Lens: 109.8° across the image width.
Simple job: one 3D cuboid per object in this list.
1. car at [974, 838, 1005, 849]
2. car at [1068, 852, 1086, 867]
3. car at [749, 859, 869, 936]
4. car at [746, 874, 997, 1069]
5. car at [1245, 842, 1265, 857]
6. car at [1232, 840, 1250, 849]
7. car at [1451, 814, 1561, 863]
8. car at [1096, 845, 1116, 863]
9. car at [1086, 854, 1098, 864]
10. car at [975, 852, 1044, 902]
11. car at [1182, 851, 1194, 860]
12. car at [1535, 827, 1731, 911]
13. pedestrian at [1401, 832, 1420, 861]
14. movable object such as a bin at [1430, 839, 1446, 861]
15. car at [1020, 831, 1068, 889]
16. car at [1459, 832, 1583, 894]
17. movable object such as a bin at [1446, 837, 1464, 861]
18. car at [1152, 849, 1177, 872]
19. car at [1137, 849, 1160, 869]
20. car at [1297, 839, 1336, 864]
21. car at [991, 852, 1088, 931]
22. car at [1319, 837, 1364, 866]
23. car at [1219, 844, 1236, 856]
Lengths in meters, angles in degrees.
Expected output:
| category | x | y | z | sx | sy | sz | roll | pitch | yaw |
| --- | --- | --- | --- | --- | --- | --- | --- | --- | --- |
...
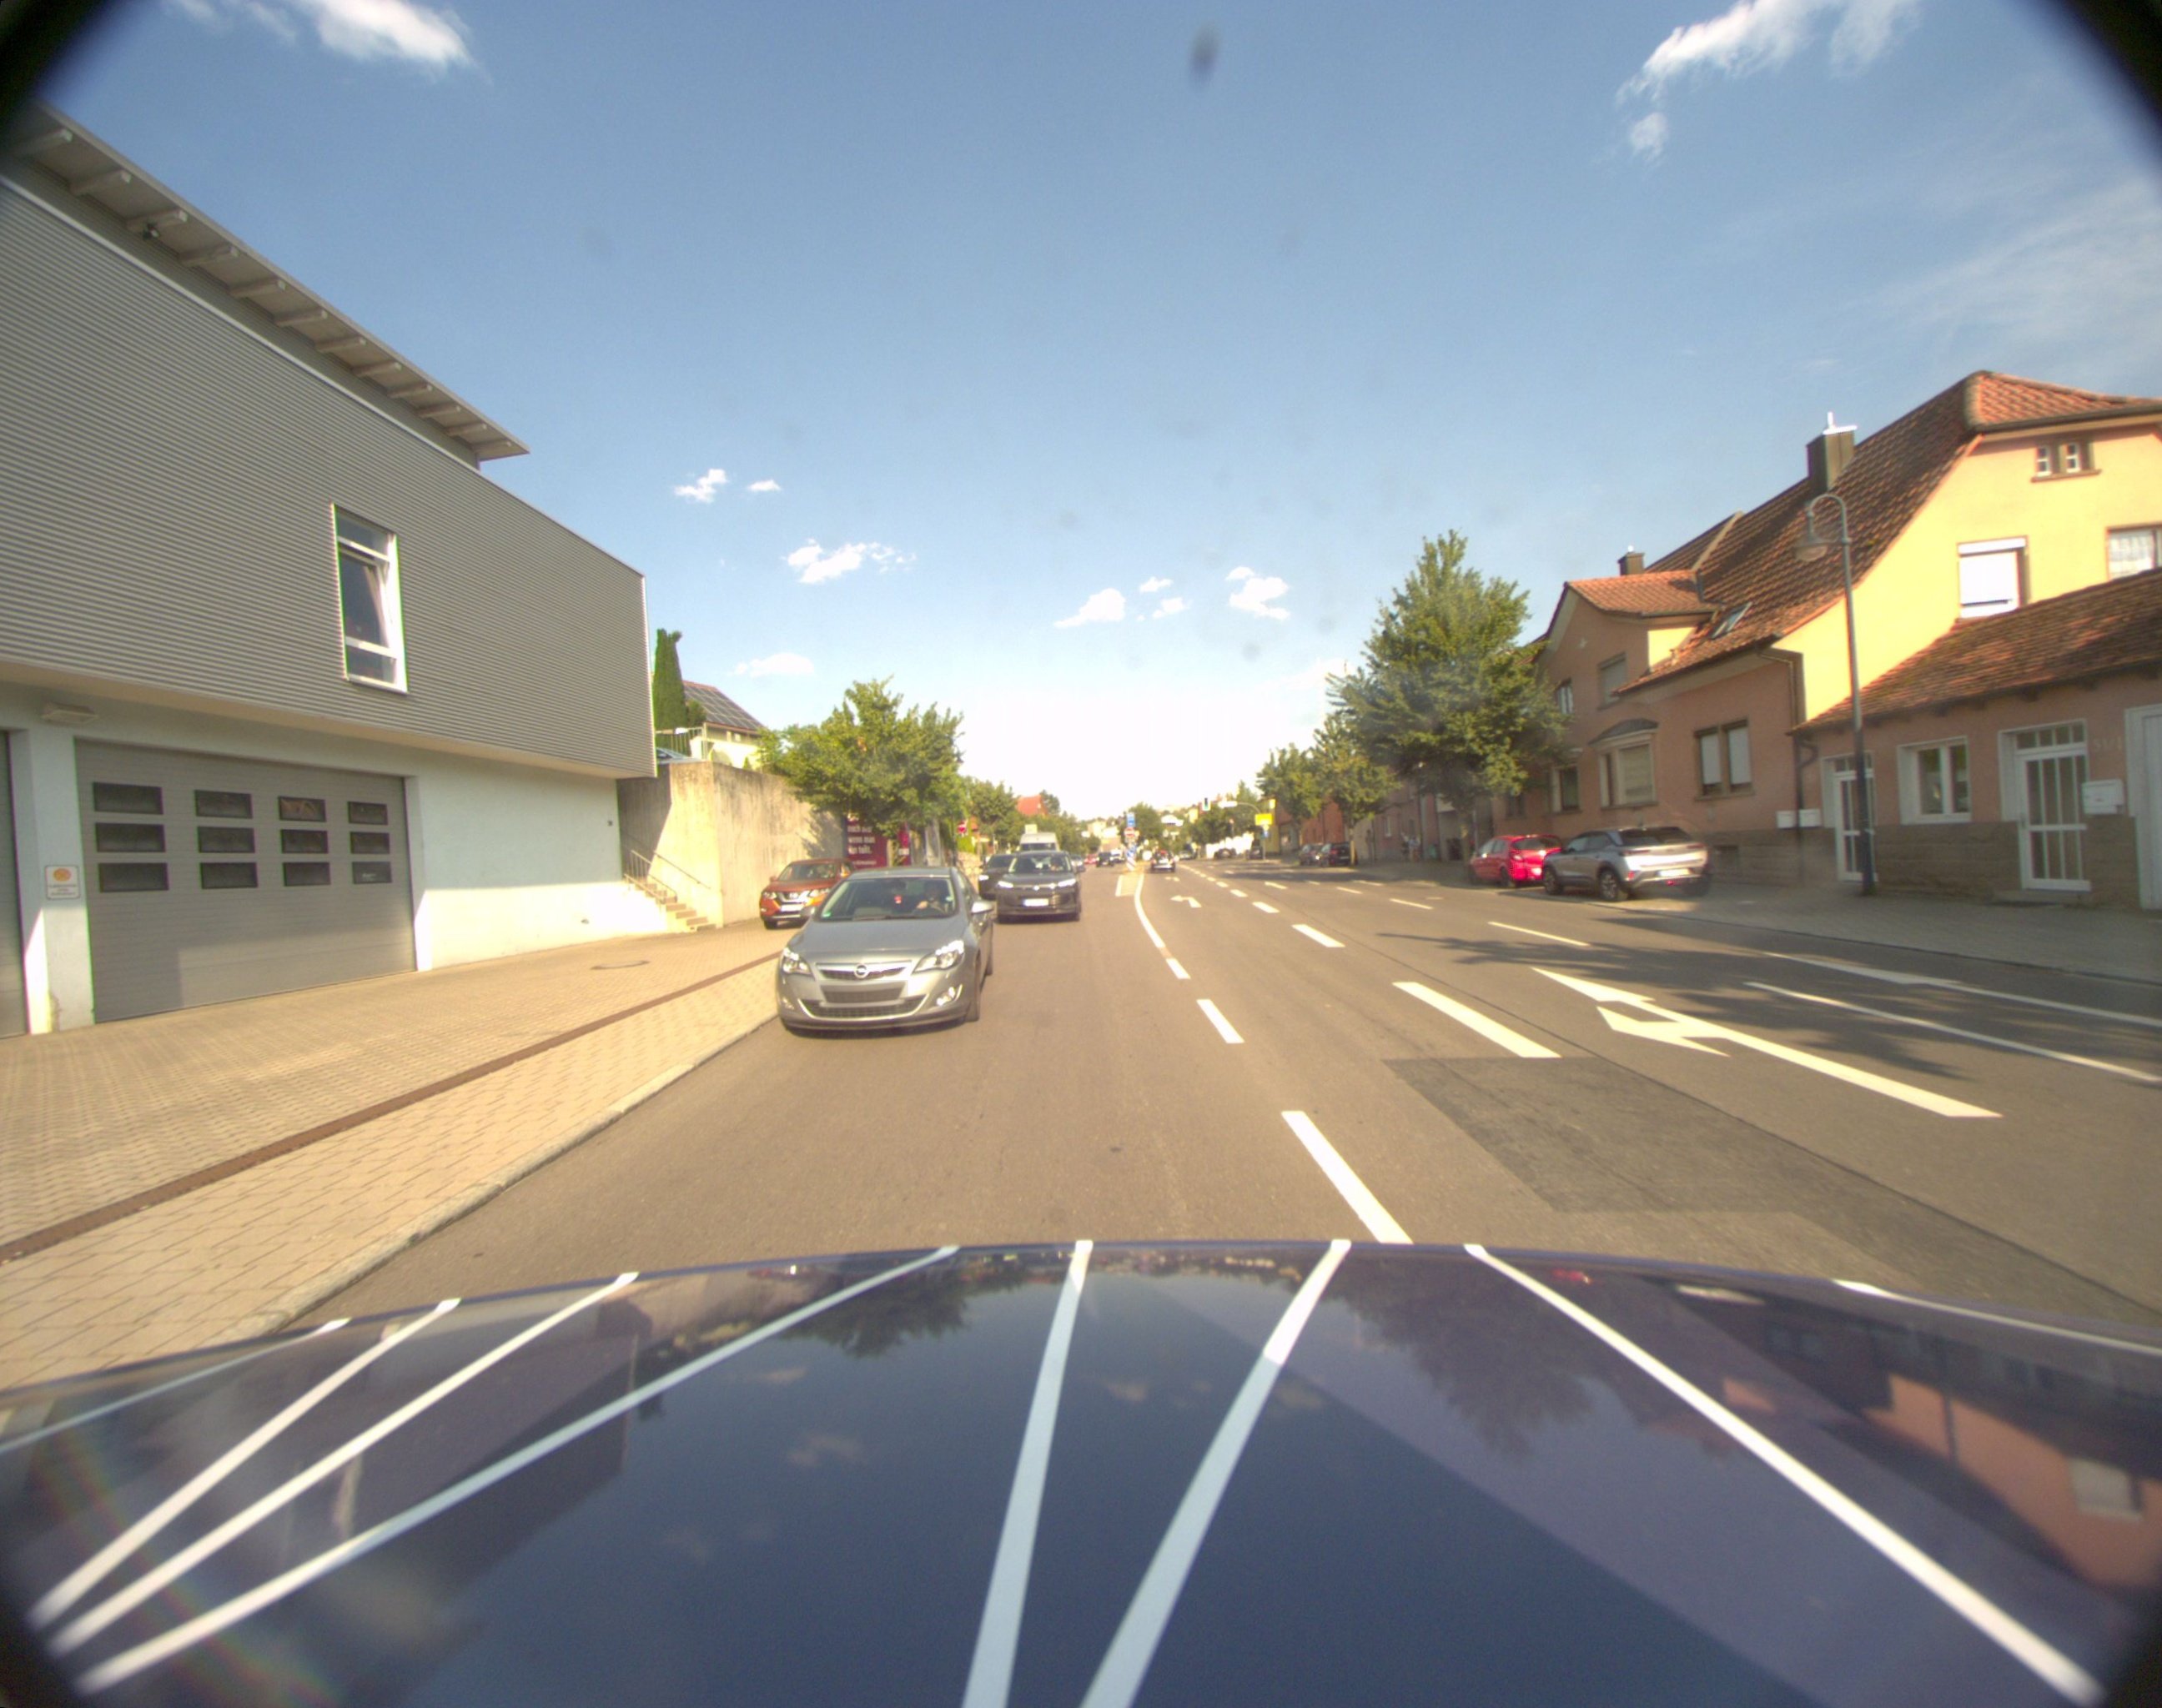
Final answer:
| category | x | y | z | sx | sy | sz | roll | pitch | yaw |
| --- | --- | --- | --- | --- | --- | --- | --- | --- | --- |
| car | -13.079 | -1.501 | 108.522 | 4.072 | 1.448 | 1.681 | -3 | 0 | 16 |
| car | -0.380 | 0.564 | 74.883 | 1.515 | 1.354 | 2.956 | -3 | 0 | 4 |
| car | -6.809 | 0.994 | 19.554 | 1.840 | 1.640 | 4.535 | -3 | 0 | -6 |
| car | -1.872 | 0.975 | 8.057 | 1.652 | 1.414 | 4.142 | -1 | 0 | -3 |
| car | 18.476 | -0.444 | 80.958 | 1.595 | 1.430 | 3.777 | -7 | -1 | 8 |
| car | 31.480 | -1.819 | 149.344 | 3.437 | 1.555 | 1.583 | -2 | 0 | -35 |
| car | 19.151 | -0.698 | 34.378 | 3.829 | 1.870 | 1.779 | -5 | 0 | 6 |
| car | 2.848 | 0.002 | 84.942 | 1.815 | 1.861 | 4.002 | -3 | 0 | 6 |
| car | 1.726 | 0.742 | 115.654 | 1.529 | 1.354 | 2.794 | -3 | 0 | 7 |
| car | -2.480 | 0.774 | 27.312 | 1.791 | 1.596 | 4.057 | -2 | 0 | 4 |
| car | 19.847 | 0.216 | 141.003 | 1.689 | 1.602 | 4.414 | -3 | 0 | 4 |
| car | 11.869 | 0.296 | 16.718 | 1.759 | 1.470 | 4.003 | -5 | -1 | 9 |
| pedestrian | 18.357 | -0.406 | 42.347 | 0.722 | 1.598 | 0.778 | -2 | 1 | 8 |
| movable object such as a bin | 18.507 | -0.200 | 39.399 | 0.552 | 1.136 | 0.530 | -3 | 0 | 7 |
| car | -1.792 | 0.265 | 39.083 | 2.040 | 2.642 | 6.648 | -3 | 0 | 0 |
| car | 12.561 | 0.211 | 21.998 | 1.669 | 1.478 | 4.002 | -5 | 0 | 9 |
| movable object such as a bin | 17.979 | -0.222 | 36.528 | 0.567 | 1.136 | 0.576 | -3 | 0 | -1 |
| car | 5.640 | 0.415 | 51.603 | 1.535 | 1.453 | 3.507 | -3 | 0 | 5 |
| car | 5.166 | 0.337 | 57.787 | 1.592 | 1.419 | 3.579 | -2 | 1 | 6 |
| car | 15.892 | -0.145 | 51.342 | 1.515 | 1.501 | 3.886 | -4 | 0 | 3 |
| car | -0.866 | 0.803 | 18.177 | 1.767 | 1.582 | 4.057 | -3 | 0 | 4 |
| car | 15.469 | -0.145 | 45.301 | 1.669 | 1.523 | 3.904 | -5 | 0 | 8 |
| car | 20.471 | -0.533 | 106.447 | 1.859 | 1.586 | 4.462 | -3 | 0 | 6 |
